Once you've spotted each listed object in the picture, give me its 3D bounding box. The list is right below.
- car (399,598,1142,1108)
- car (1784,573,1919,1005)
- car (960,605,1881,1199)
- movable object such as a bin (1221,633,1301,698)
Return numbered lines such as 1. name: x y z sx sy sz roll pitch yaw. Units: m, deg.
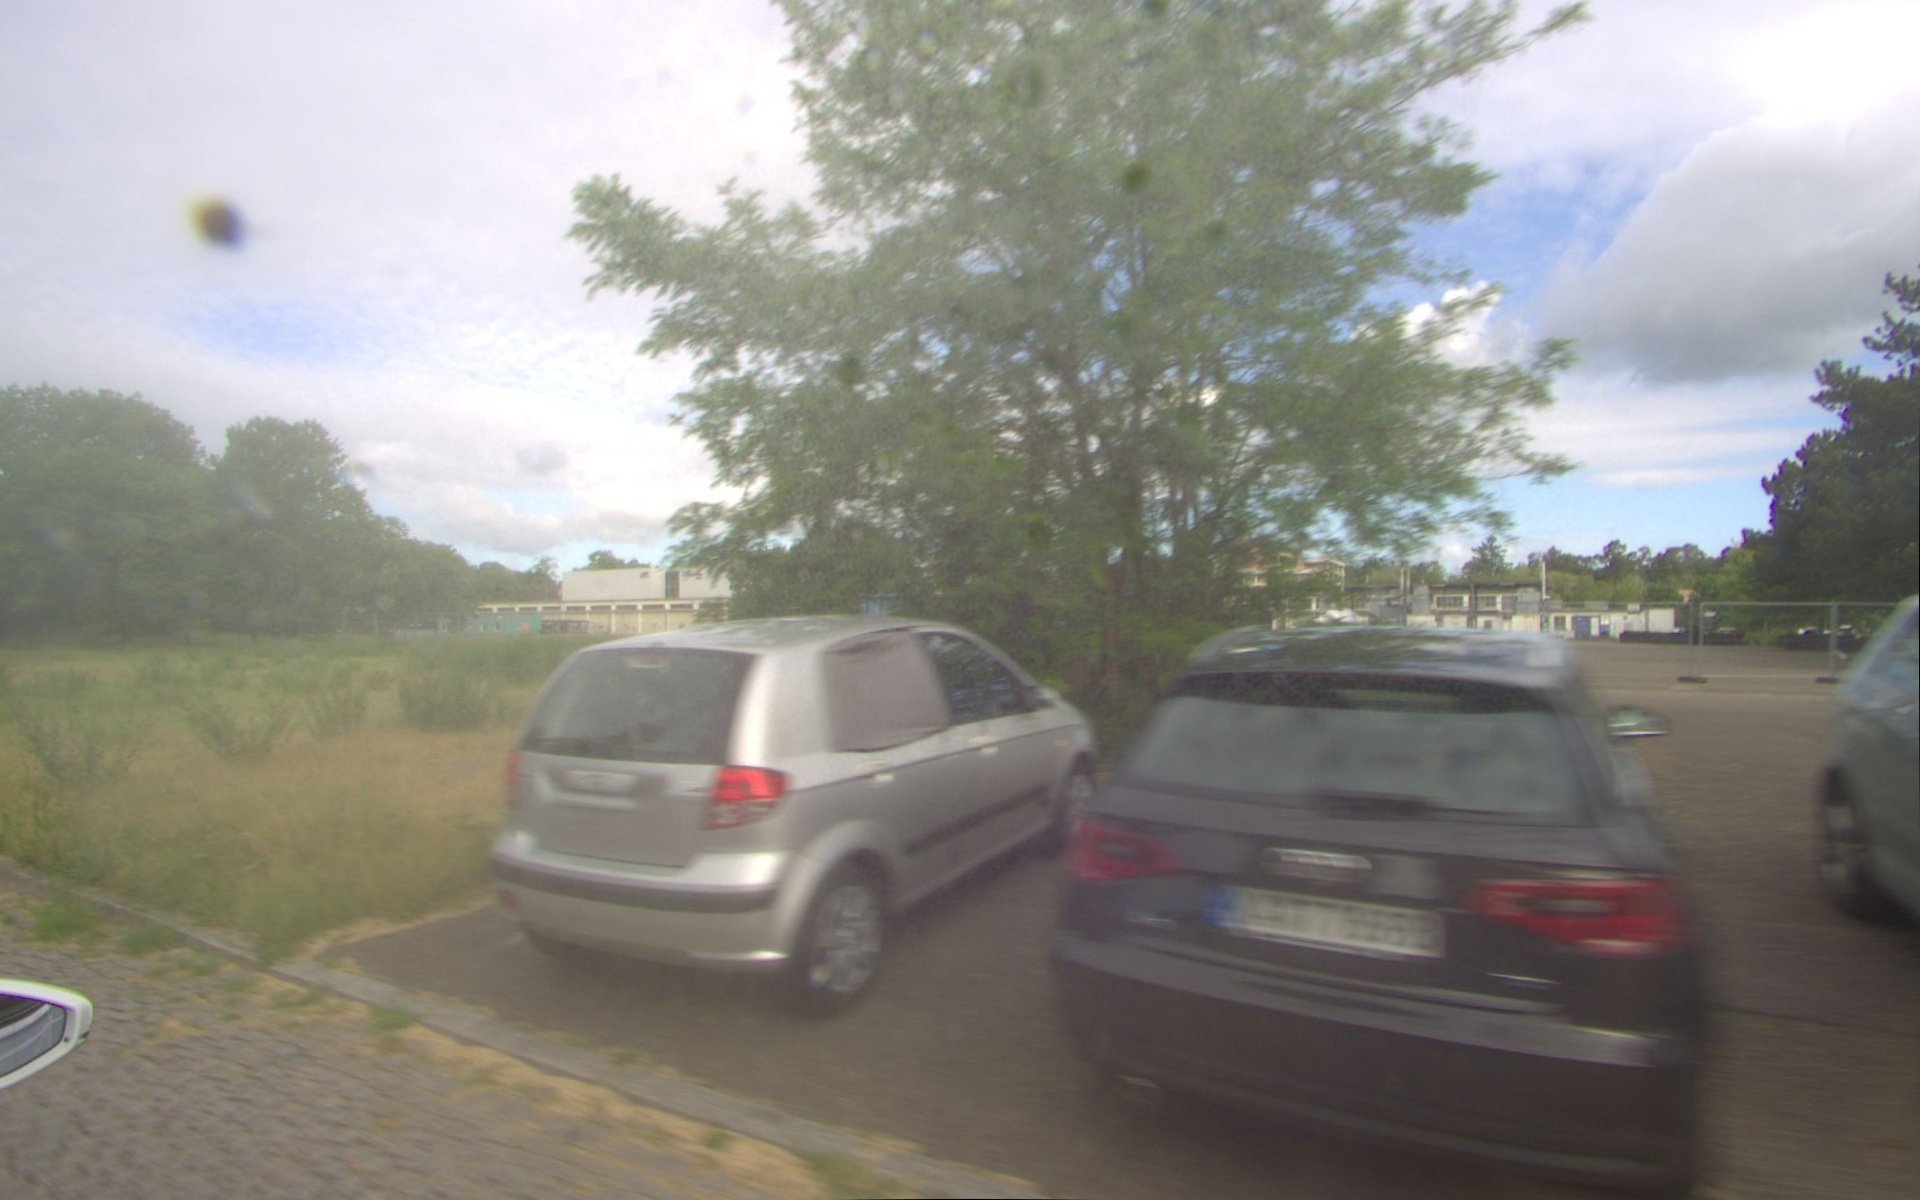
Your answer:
1. car: -0.507 0.816 5.417 1.776 1.535 4.068 0 2 28
2. car: 4.291 0.726 3.033 1.855 1.618 4.236 0 2 27
3. car: 1.778 0.823 4.038 1.856 1.473 4.068 0 2 28
4. movable object such as a bin: 5.200 1.077 17.160 0.840 1.001 2.681 0 -1 27
